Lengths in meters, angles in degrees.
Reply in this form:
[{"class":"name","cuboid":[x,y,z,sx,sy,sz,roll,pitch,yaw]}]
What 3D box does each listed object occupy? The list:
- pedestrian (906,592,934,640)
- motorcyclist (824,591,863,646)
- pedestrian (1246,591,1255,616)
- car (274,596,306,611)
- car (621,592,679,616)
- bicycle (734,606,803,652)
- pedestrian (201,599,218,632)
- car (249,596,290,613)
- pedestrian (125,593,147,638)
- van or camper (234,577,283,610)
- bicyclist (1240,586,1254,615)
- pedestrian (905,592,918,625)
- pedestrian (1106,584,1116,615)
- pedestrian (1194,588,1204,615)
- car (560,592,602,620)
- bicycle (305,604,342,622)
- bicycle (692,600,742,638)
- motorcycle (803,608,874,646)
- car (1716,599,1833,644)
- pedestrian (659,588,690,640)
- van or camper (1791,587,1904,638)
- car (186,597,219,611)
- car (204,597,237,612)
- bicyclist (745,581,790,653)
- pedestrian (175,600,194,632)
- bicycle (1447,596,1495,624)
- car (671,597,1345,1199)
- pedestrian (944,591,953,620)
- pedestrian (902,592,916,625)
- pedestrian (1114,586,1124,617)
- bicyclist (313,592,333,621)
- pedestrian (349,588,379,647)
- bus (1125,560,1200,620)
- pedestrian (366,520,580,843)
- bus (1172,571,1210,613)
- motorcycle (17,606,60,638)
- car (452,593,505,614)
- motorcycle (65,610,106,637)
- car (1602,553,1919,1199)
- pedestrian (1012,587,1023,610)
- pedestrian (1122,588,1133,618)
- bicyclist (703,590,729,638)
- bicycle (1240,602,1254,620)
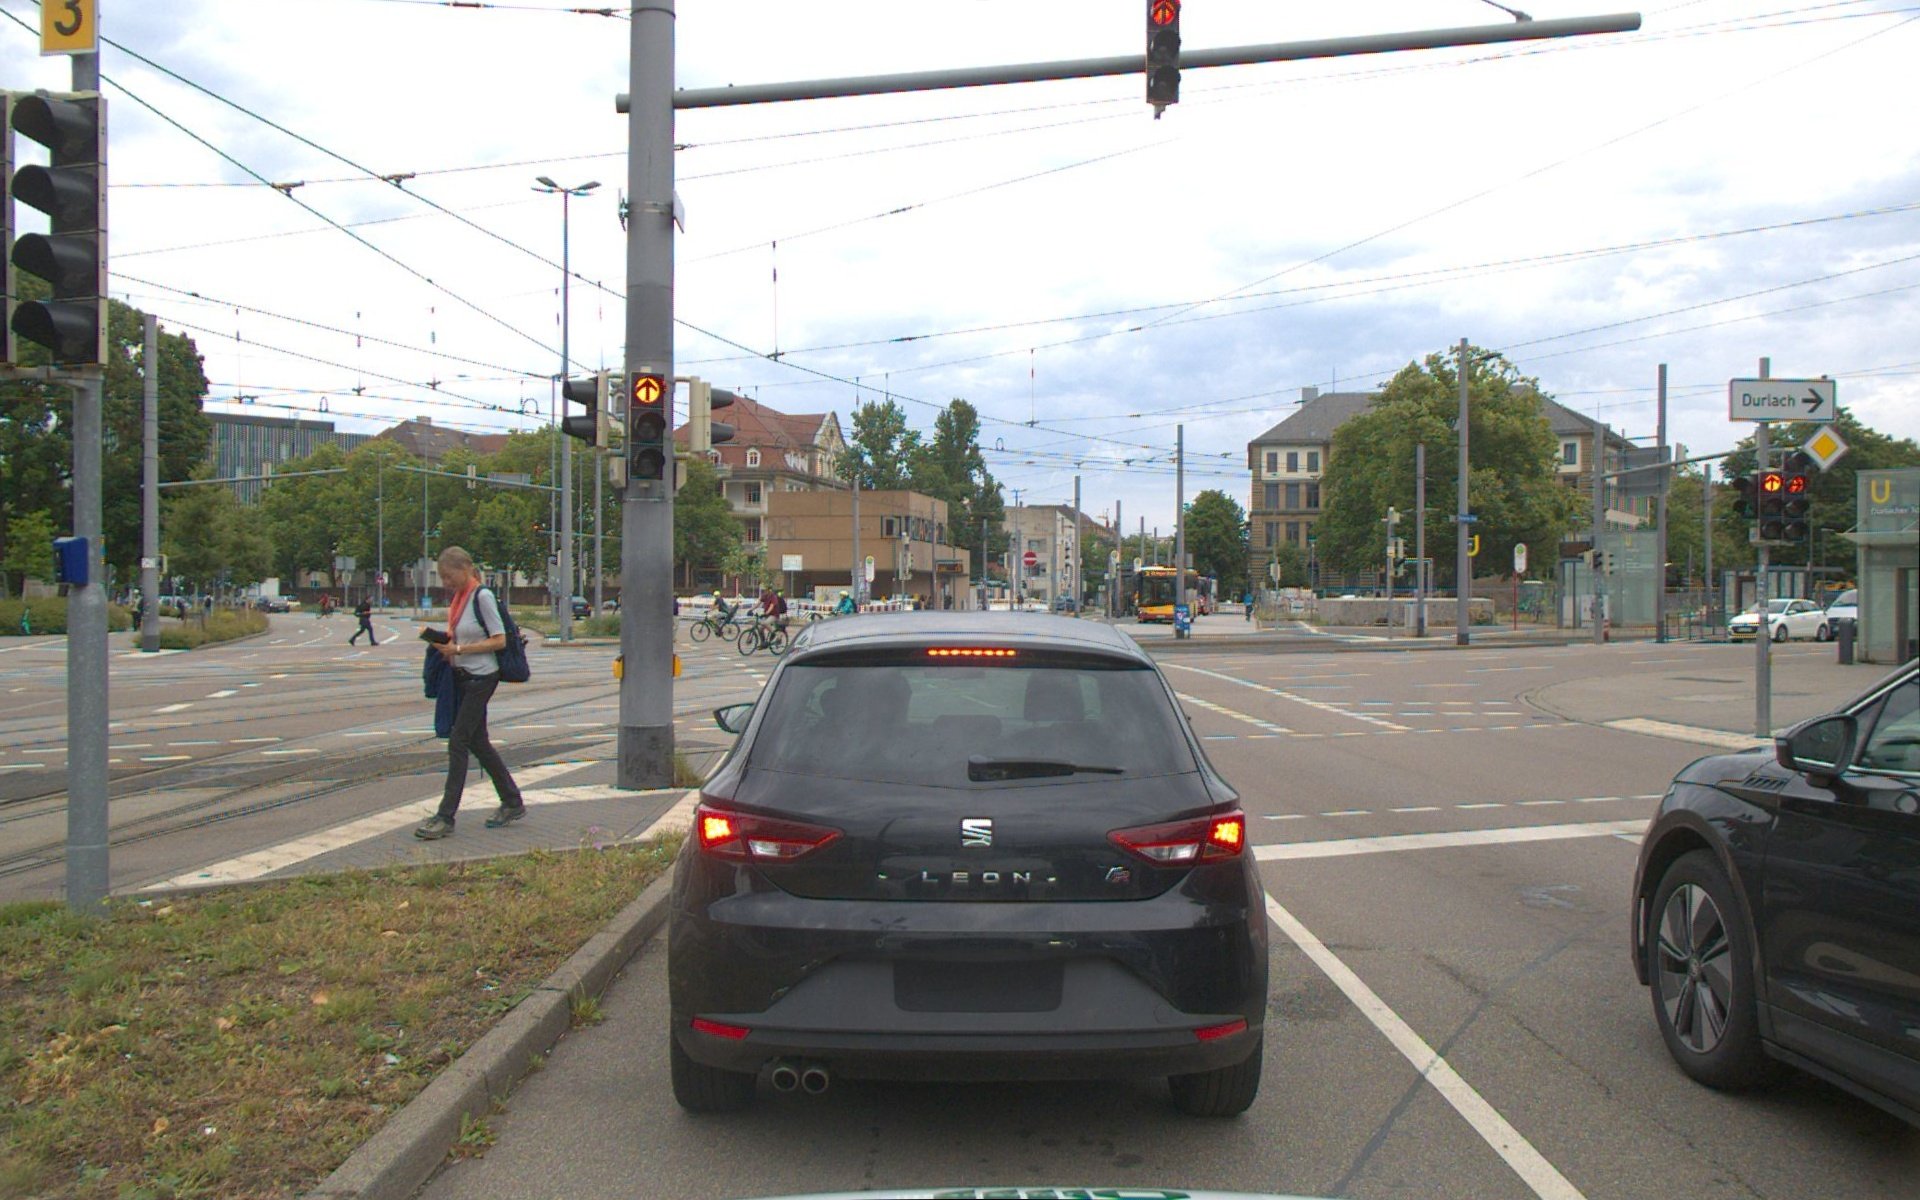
[{"class":"pedestrian","cuboid":[-1.668,0.665,69.395,0.687,1.968,1.026,0,0,38]},{"class":"motorcyclist","cuboid":[-3.599,0.563,51.229,0.968,1.678,0.741,0,-1,-34]},{"class":"pedestrian","cuboid":[23.946,0.303,136.323,0.648,2.049,0.691,0,0,-1]},{"class":"car","cuboid":[-67.426,0.348,166.357,1.767,1.489,3.938,0,1,-42]},{"class":"car","cuboid":[-22.947,0.323,122.674,3.905,1.713,2.000,0,-1,0]},{"class":"bicycle","cuboid":[-5.220,0.779,45.185,0.761,1.205,2.026,0,0,34]},{"class":"pedestrian","cuboid":[-46.817,0.965,103.217,0.865,2.016,0.791,0,-1,-19]},{"class":"car","cuboid":[-59.477,0.389,142.467,3.930,1.489,1.770,0,0,43]},{"class":"pedestrian","cuboid":[-37.722,0.710,75.708,0.787,2.016,0.870,1,-2,-35]},{"class":"van or camper","cuboid":[-69.244,-0.616,163.189,5.403,3.179,2.382,0,0,41]},{"class":"bicyclist","cuboid":[18.553,0.017,106.983,0.852,1.884,1.048,0,0,12]},{"class":"pedestrian","cuboid":[-2.869,0.503,97.316,0.693,1.951,0.624,0,0,7]},{"class":"pedestrian","cuboid":[9.519,-0.052,104.092,0.608,1.951,0.699,0,0,9]},{"class":"pedestrian","cuboid":[18.098,0.084,125.354,0.648,2.049,0.691,0,0,-1]},{"class":"car","cuboid":[-23.944,0.384,104.387,1.966,1.713,3.973,0,-1,-22]},{"class":"bicycle","cuboid":[-45.160,0.908,117.340,0.920,1.199,2.731,0,0,19]},{"class":"bicycle","cuboid":[-8.730,0.674,59.327,1.703,1.345,0.642,0,0,-18]},{"class":"motorcycle","cuboid":[-3.759,0.824,51.127,2.115,1.159,0.735,0,0,-34]},{"class":"car","cuboid":[27.482,0.725,55.781,3.948,1.490,1.756,0,-1,-32]},{"class":"pedestrian","cuboid":[-10.796,0.518,62.544,1.015,1.968,0.695,0,0,-26]},{"class":"van or camper","cuboid":[32.119,0.462,59.840,4.257,1.773,1.974,0,-1,-36]},{"class":"car","cuboid":[-80.694,0.435,176.155,3.926,1.489,1.772,1,1,41]},{"class":"car","cuboid":[-75.353,0.443,168.554,3.932,1.489,1.770,1,1,44]},{"class":"bicyclist","cuboid":[-5.253,0.452,45.147,0.762,1.931,0.994,0,0,35]},{"class":"pedestrian","cuboid":[-48.930,1.004,104.346,0.860,2.016,0.795,0,-1,-2]},{"class":"bicycle","cuboid":[25.529,0.488,82.636,2.214,1.354,0.707,-1,-1,6]},{"class":"car","cuboid":[-0.017,0.732,5.978,1.671,1.474,3.808,0,0,-5]},{"class":"pedestrian","cuboid":[-0.788,0.393,113.288,0.608,1.951,0.711,0,0,2]},{"class":"pedestrian","cuboid":[-2.986,0.489,96.519,0.693,1.951,0.624,0,0,7]},{"class":"pedestrian","cuboid":[10.188,0.080,105.789,0.608,1.951,0.711,0,0,2]},{"class":"bicyclist","cuboid":[-45.172,0.434,117.374,0.918,2.049,0.979,0,0,19]},{"class":"pedestrian","cuboid":[-21.079,0.607,58.528,1.006,2.049,0.841,0,0,-20]},{"class":"bus","cuboid":[11.560,-0.528,93.632,2.897,3.178,11.548,0,0,14]},{"class":"pedestrian","cuboid":[-3.104,0.492,10.570,1.096,1.940,0.724,1,-1,-44]},{"class":"bus","cuboid":[19.162,-0.663,136.961,2.597,3.340,11.004,0,0,10]},{"class":"motorcycle","cuboid":[-37.892,0.883,68.002,0.503,1.290,1.463,0,0,43]},{"class":"car","cuboid":[-40.821,0.288,140.211,3.903,1.803,1.717,0,0,5]},{"class":"motorcycle","cuboid":[-36.973,0.984,69.944,0.499,1.130,1.746,0,0,12]},{"class":"car","cuboid":[3.270,0.700,3.770,1.741,1.625,4.508,0,0,-2]},{"class":"pedestrian","cuboid":[4.801,-0.116,138.052,0.609,1.952,0.710,-1,-1,25]},{"class":"pedestrian","cuboid":[10.612,0.190,104.730,0.608,1.951,0.699,0,0,9]},{"class":"bicyclist","cuboid":[-8.759,0.487,59.332,0.840,1.702,0.651,0,0,-17]},{"class":"bicycle","cuboid":[18.519,0.681,106.824,0.847,1.124,2.304,0,0,11]}]
